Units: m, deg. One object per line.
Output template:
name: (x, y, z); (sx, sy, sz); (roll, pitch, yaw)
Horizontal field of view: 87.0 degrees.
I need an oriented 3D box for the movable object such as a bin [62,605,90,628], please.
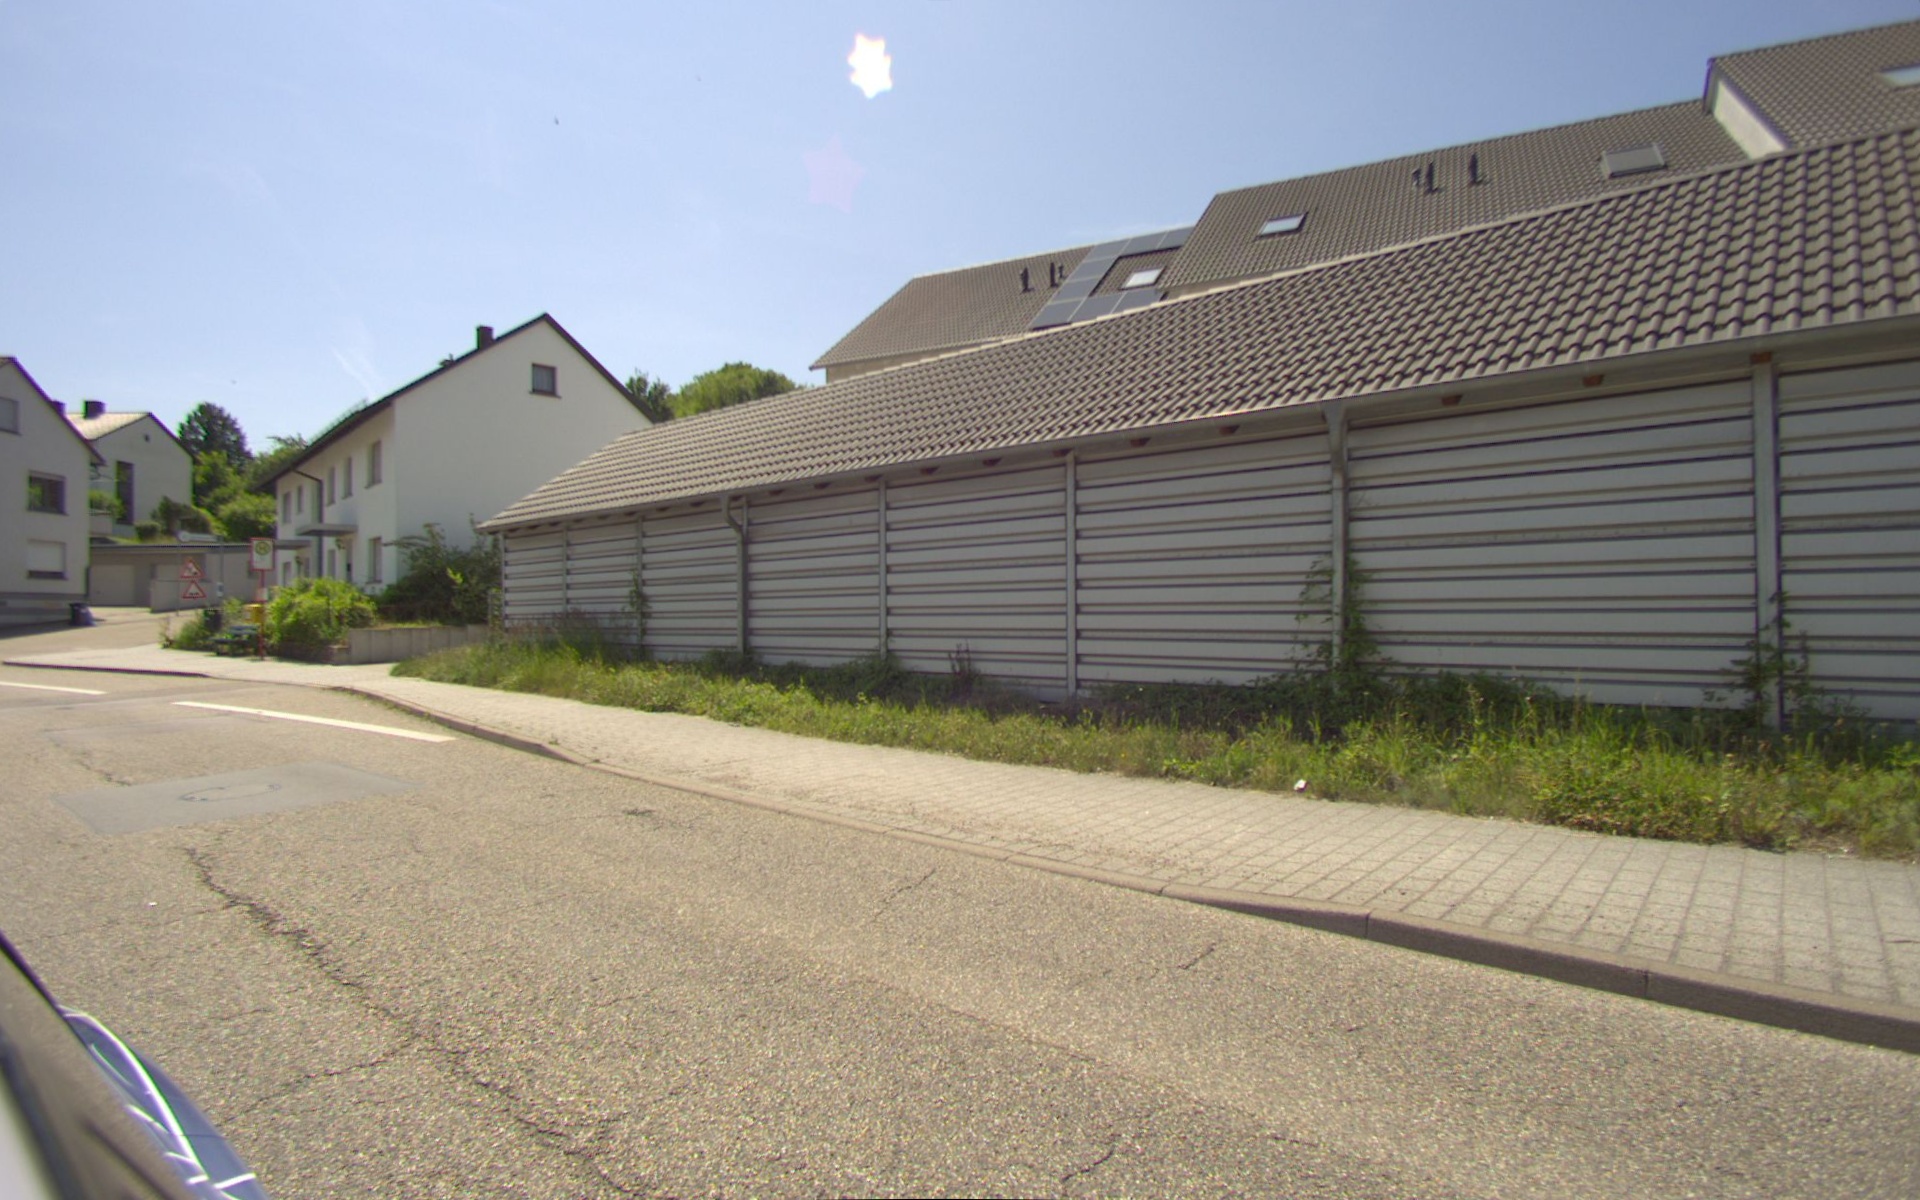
movable object such as a bin: (-36.248, 0.658, 41.502); (0.591, 0.941, 0.600); (0, -1, -5)
